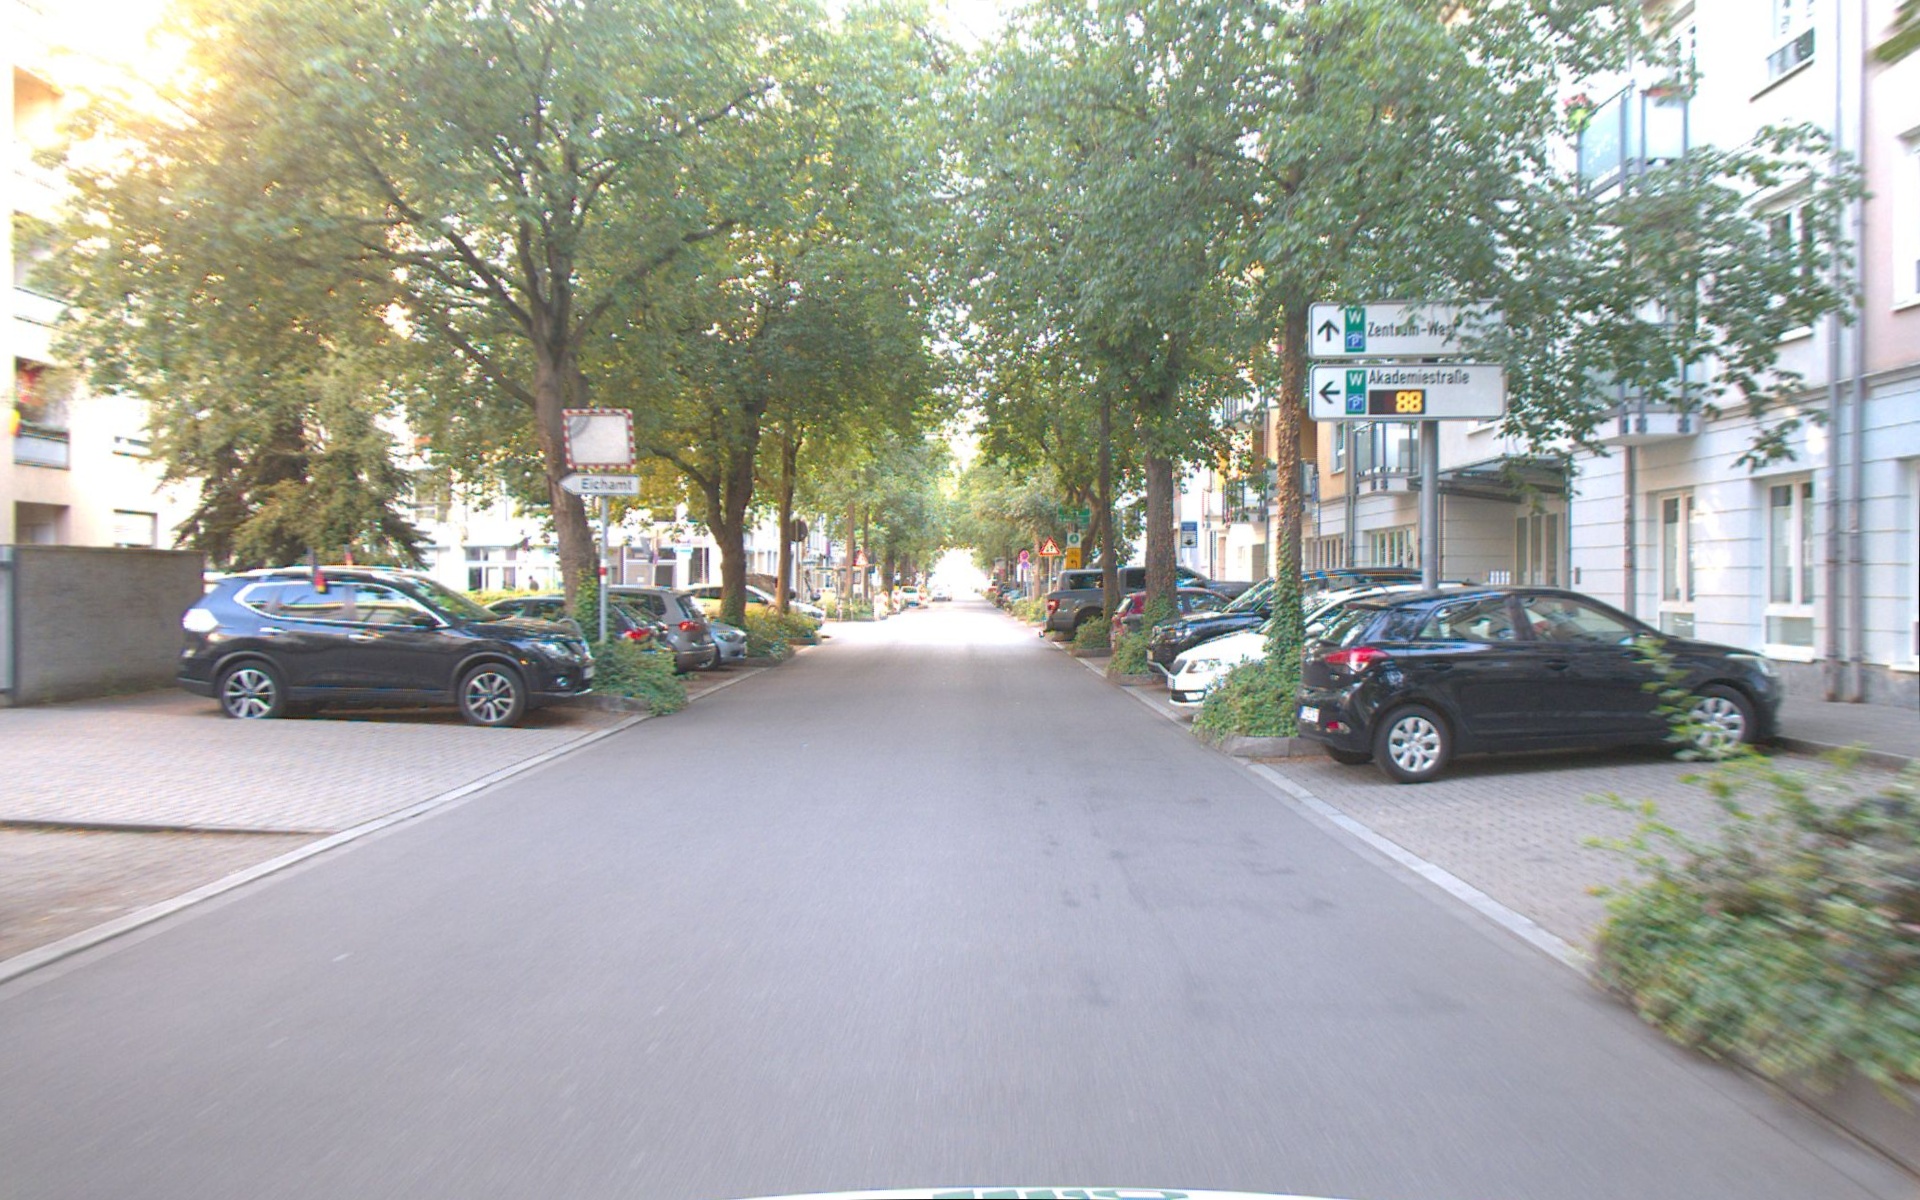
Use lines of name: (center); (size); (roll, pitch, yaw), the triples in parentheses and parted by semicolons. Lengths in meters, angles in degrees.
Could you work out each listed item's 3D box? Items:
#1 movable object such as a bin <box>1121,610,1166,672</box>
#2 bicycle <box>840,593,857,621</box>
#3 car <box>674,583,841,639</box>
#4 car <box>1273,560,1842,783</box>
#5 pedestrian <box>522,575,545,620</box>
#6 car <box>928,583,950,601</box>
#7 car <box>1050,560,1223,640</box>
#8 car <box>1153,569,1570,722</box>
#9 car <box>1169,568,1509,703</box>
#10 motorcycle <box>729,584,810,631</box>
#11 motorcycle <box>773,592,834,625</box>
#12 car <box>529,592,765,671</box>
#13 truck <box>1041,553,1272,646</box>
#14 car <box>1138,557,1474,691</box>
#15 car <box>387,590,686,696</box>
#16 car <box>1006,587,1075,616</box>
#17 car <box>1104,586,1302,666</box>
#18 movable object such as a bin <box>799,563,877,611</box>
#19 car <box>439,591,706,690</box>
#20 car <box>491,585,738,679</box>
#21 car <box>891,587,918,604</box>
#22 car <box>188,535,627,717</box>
movable object such as a bin: (3.430, 0.757, 30.944); (0.745, 1.103, 0.785); (-2, 0, 1)
bicycle: (-4.813, 0.293, 71.248); (0.670, 1.173, 1.979); (0, 1, -5)
car: (-5.823, 0.292, 47.919); (4.523, 1.579, 2.076); (0, 0, 2)
car: (4.887, 0.538, 13.882); (4.004, 1.476, 1.933); (-4, 1, -5)
pedestrian: (-17.841, -0.100, 69.215); (0.874, 1.883, 0.871); (0, 0, -19)
car: (-1.937, -0.705, 152.851); (1.969, 1.641, 4.119); (0, 0, -1)
car: (4.842, -0.017, 45.862); (4.507, 2.102, 2.197); (-1, 1, -1)
car: (4.715, 0.514, 19.872); (4.507, 1.493, 1.796); (-3, 0, -1)
car: (5.046, 0.456, 22.487); (4.137, 1.463, 1.930); (-4, 0, 2)
motorcycle: (-5.917, 0.229, 51.512); (2.402, 1.445, 0.911); (0, 0, 2)
motorcycle: (-6.404, 0.332, 67.630); (2.335, 1.304, 1.052); (-1, 1, -41)
car: (-5.989, 0.584, 32.041); (4.199, 1.454, 1.879); (0, 0, 0)
truck: (5.044, -0.027, 43.118); (5.766, 2.351, 2.213); (0, 0, 1)
car: (5.159, 0.333, 25.079); (4.551, 1.645, 2.008); (-4, 1, -4)
car: (-6.147, 0.602, 24.365); (3.906, 1.489, 1.922); (0, 0, -2)
car: (4.606, 0.081, 94.532); (3.904, 1.612, 2.001); (0, 0, 2)
car: (4.869, 0.505, 33.500); (3.700, 1.571, 1.877); (0, 0, -1)
movable object such as a bin: (-6.339, -0.673, 85.774); (3.968, 2.424, 2.781); (0, 1, -6)
car: (-6.187, 0.628, 26.747); (3.907, 1.516, 1.825); (0, 0, -2)
car: (-6.084, 0.544, 29.413); (3.902, 1.593, 1.930); (0, 0, 5)
car: (-4.411, -0.405, 130.877); (1.954, 1.310, 3.997); (0, 1, -4)
car: (-6.253, 0.271, 19.142); (4.414, 1.989, 1.999); (0, 0, -2)
